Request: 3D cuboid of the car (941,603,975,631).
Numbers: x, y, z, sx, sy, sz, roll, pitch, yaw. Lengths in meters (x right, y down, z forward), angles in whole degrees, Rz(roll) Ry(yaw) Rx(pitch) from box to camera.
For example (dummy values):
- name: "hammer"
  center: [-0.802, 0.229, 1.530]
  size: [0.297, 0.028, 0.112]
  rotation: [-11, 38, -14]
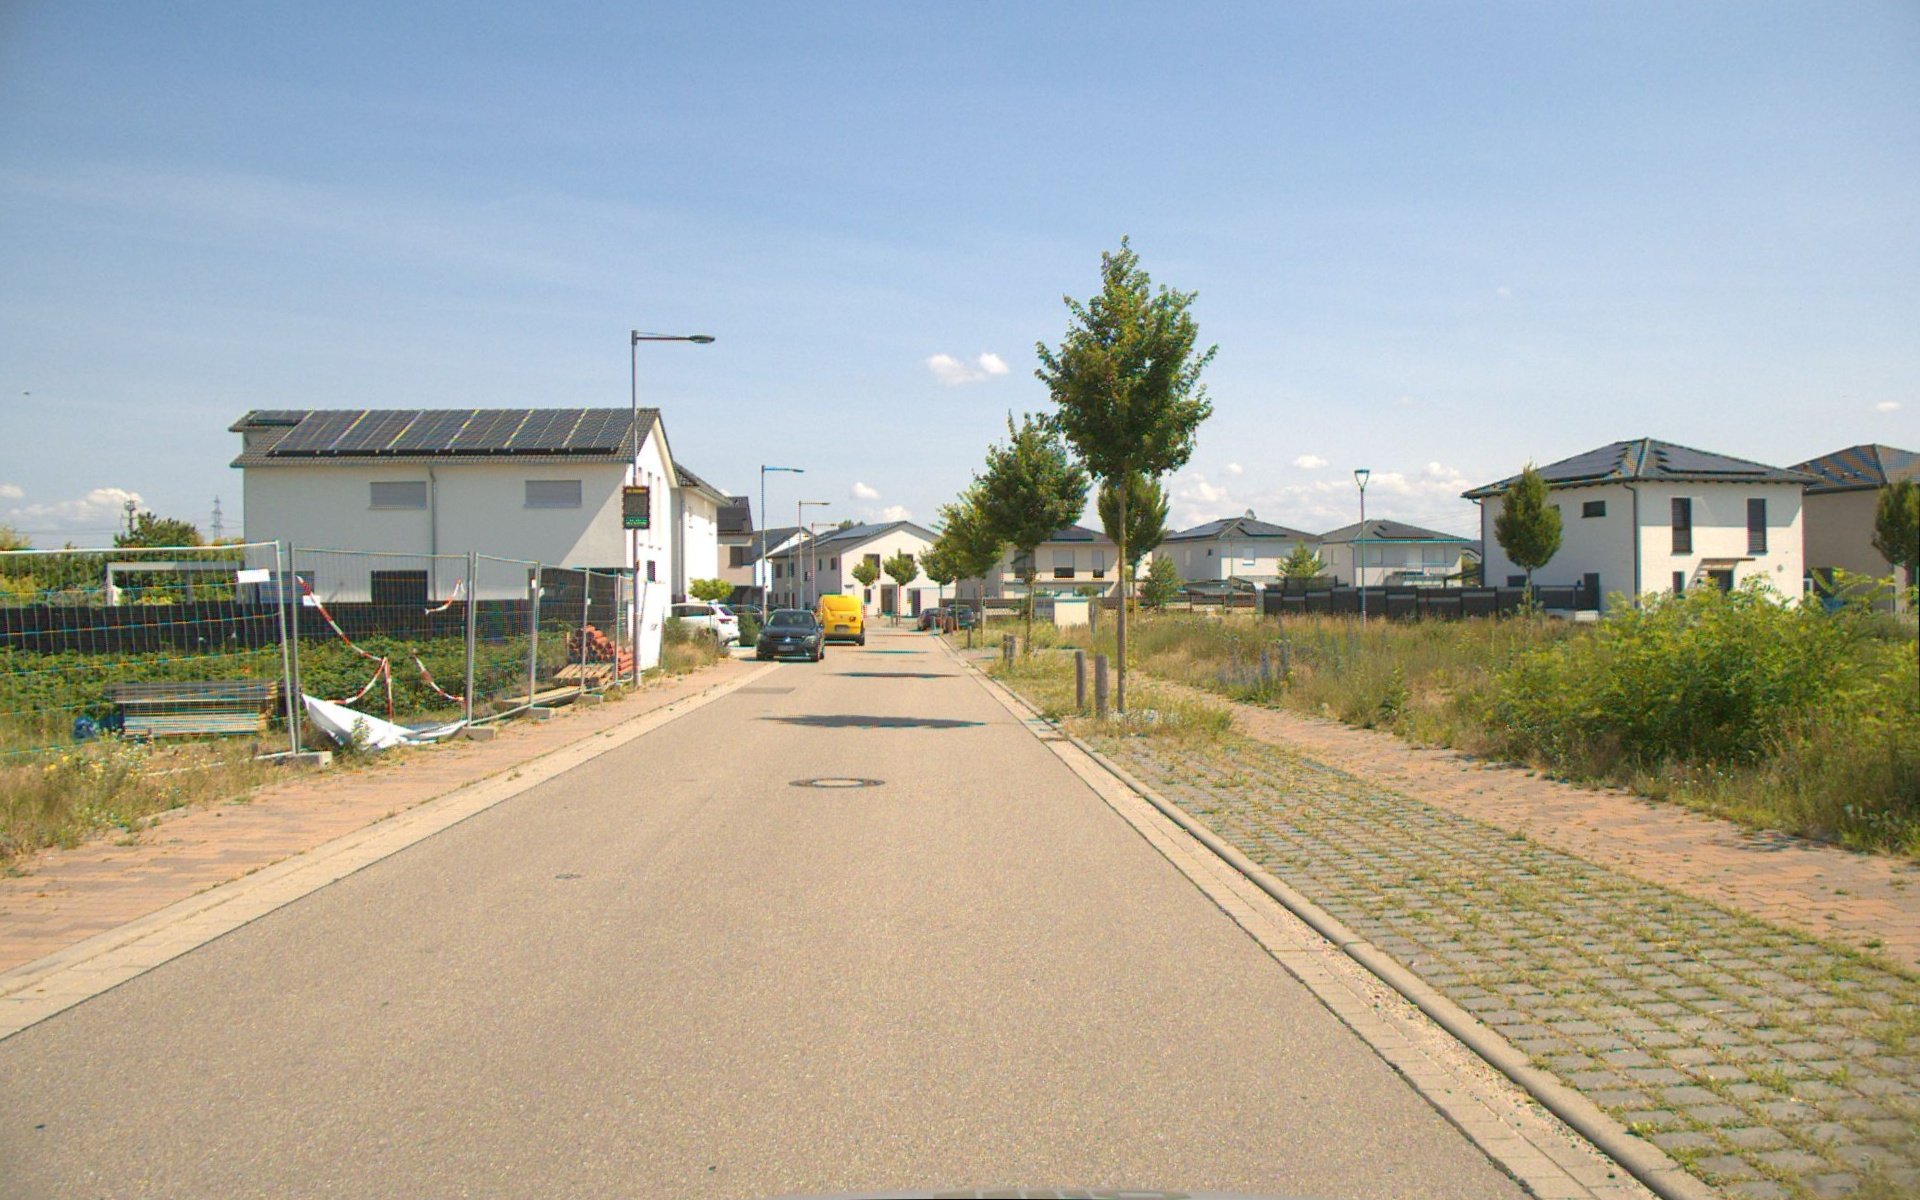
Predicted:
- name: "car"
  center: [-0.103, 0.924, 88.333]
  size: [1.606, 1.427, 3.808]
  rotation: [-1, -2, -3]

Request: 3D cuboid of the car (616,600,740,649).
- name: "car"
  center: [-9.895, 0.848, 58.213]
  size: [3.983, 1.609, 1.785]
  rotation: [1, 1, 3]

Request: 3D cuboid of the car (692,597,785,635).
- name: "car"
  center: [-10.532, 0.765, 78.573]
  size: [4.096, 1.531, 1.806]
  rotation: [4, -1, -18]

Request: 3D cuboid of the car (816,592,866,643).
- name: "car"
  center: [-4.939, 0.738, 68.060]
  size: [1.904, 2.016, 4.211]
  rotation: [-1, -1, -6]

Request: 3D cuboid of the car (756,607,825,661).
- name: "car"
  center: [-4.860, 0.940, 47.833]
  size: [1.710, 1.429, 4.157]
  rotation: [2, 0, -2]

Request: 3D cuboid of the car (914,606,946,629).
- name: "car"
  center: [-1.937, 1.120, 106.879]
  size: [1.598, 1.346, 3.825]
  rotation: [0, -2, -9]
